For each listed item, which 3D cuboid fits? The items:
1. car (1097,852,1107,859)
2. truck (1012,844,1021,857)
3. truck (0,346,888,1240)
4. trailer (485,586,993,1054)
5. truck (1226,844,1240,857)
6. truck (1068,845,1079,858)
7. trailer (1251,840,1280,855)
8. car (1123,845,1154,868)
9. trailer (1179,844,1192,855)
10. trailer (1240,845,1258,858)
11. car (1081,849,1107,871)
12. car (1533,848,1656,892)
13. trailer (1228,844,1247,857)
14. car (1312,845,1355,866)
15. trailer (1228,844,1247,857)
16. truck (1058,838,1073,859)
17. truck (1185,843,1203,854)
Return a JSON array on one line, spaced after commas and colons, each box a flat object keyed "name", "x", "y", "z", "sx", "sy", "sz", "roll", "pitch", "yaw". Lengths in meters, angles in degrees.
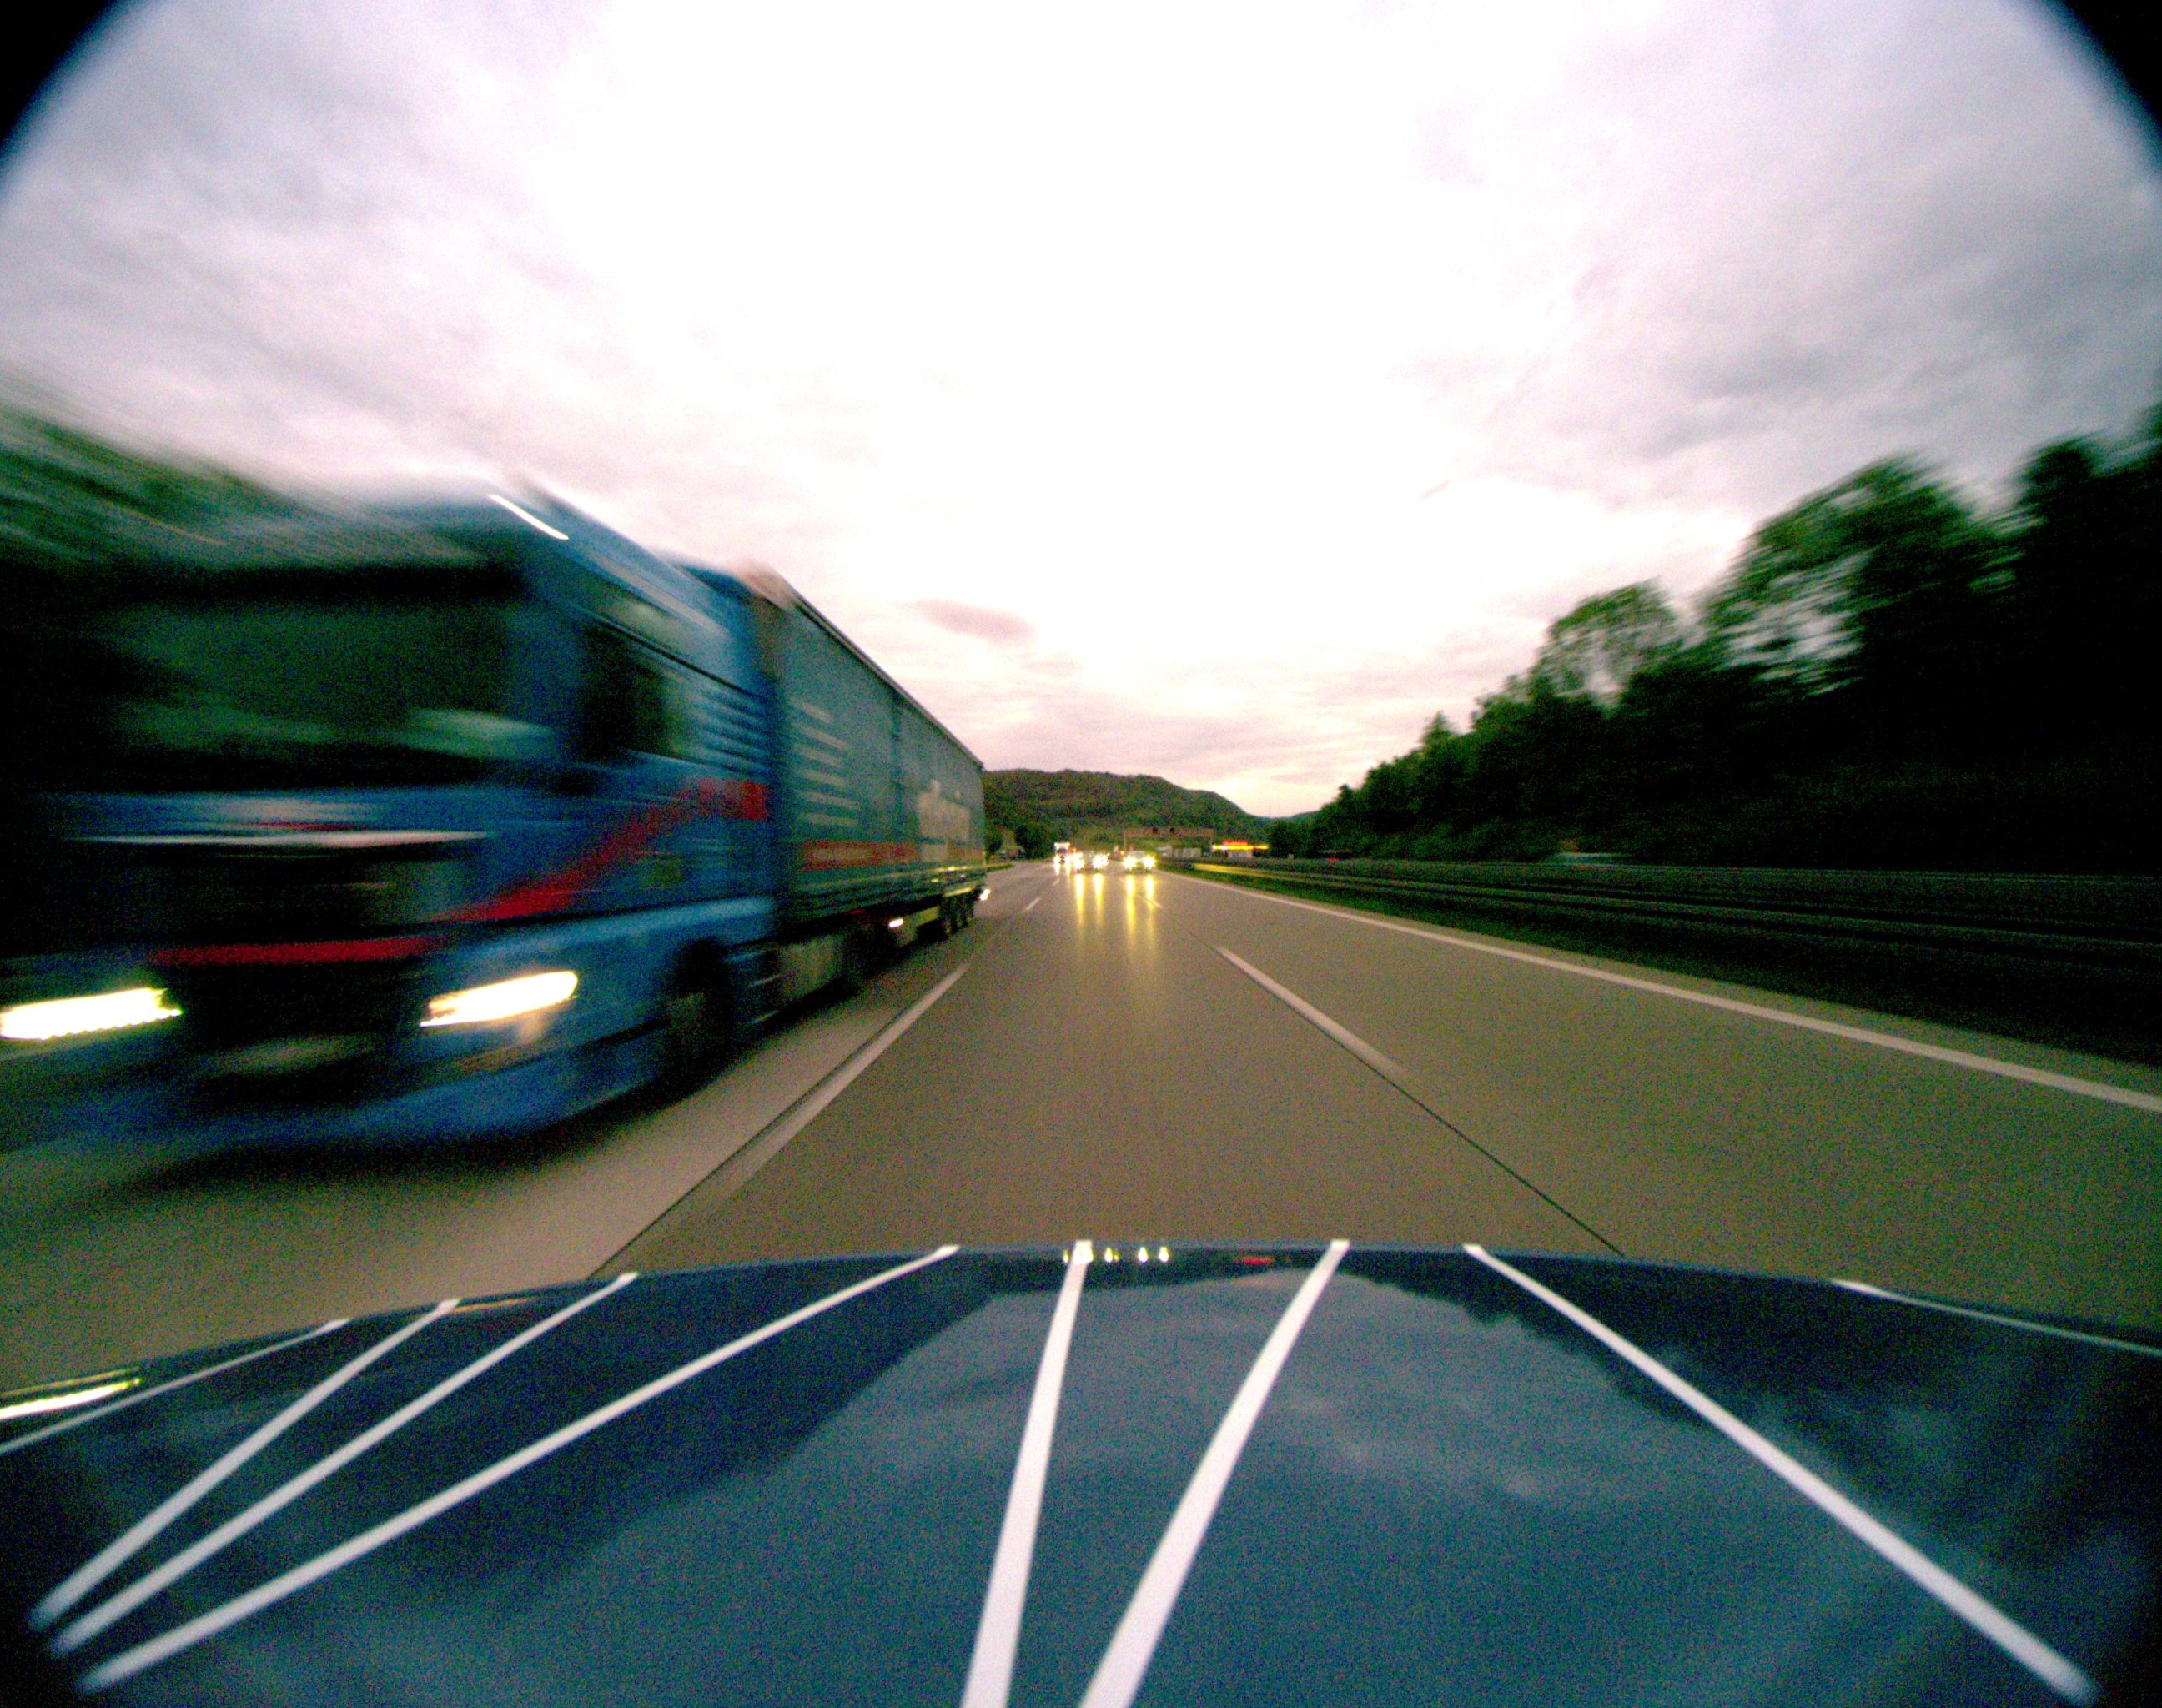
[{"name": "car", "x": 4.624, "y": 0.258, "z": 165.782, "sx": 1.898, "sy": 1.503, "sz": 3.999, "roll": -1, "pitch": 0, "yaw": -1}, {"name": "truck", "x": -20.836, "y": -1.188, "z": 245.669, "sx": 2.847, "sy": 3.893, "sz": 11.981, "roll": 0, "pitch": 0, "yaw": -6}, {"name": "truck", "x": -3.829, "y": -0.273, "z": 6.372, "sx": 2.743, "sy": 3.973, "sz": 5.848, "roll": -2, "pitch": 1, "yaw": 1}, {"name": "trailer", "x": -3.814, "y": -0.350, "z": 13.605, "sx": 2.779, "sy": 4.063, "sz": 13.737, "roll": -2, "pitch": 1, "yaw": 0}, {"name": "truck", "x": 51.045, "y": -1.174, "z": 255.610, "sx": 3.025, "sy": 4.235, "sz": 8.864, "roll": -1, "pitch": 0, "yaw": 1}, {"name": "truck", "x": -2.325, "y": -0.769, "z": 244.506, "sx": 3.120, "sy": 3.850, "sz": 14.161, "roll": 2, "pitch": 0, "yaw": 0}, {"name": "trailer", "x": 46.763, "y": -1.759, "z": 192.322, "sx": 3.063, "sy": 3.657, "sz": 13.368, "roll": -1, "pitch": 0, "yaw": 31}, {"name": "car", "x": 4.422, "y": 0.182, "z": 59.103, "sx": 1.894, "sy": 1.650, "sz": 5.638, "roll": -2, "pitch": 1, "yaw": 0}, {"name": "trailer", "x": 36.395, "y": -1.507, "z": 263.979, "sx": 2.880, "sy": 3.405, "sz": 13.851, "roll": -1, "pitch": 0, "yaw": 1}, {"name": "trailer", "x": 50.330, "y": -0.698, "z": 227.899, "sx": 2.880, "sy": 3.657, "sz": 12.717, "roll": -1, "pitch": 0, "yaw": 1}, {"name": "car", "x": 1.056, "y": 0.451, "z": 60.329, "sx": 1.927, "sy": 1.674, "sz": 4.806, "roll": 0, "pitch": 1, "yaw": 2}, {"name": "car", "x": 21.030, "y": 0.587, "z": 31.405, "sx": 1.853, "sy": 1.629, "sz": 4.775, "roll": -1, "pitch": 1, "yaw": 0}, {"name": "trailer", "x": 50.860, "y": -1.133, "z": 247.539, "sx": 3.025, "sy": 4.235, "sz": 15.946, "roll": -1, "pitch": 0, "yaw": 1}, {"name": "car", "x": 21.431, "y": 0.103, "z": 64.717, "sx": 1.853, "sy": 1.724, "sz": 5.660, "roll": -1, "pitch": 1, "yaw": 0}, {"name": "trailer", "x": 50.913, "y": -1.176, "z": 247.537, "sx": 3.025, "sy": 4.235, "sz": 15.946, "roll": -1, "pitch": 0, "yaw": 1}, {"name": "truck", "x": -3.037, "y": -1.054, "z": 148.121, "sx": 2.623, "sy": 3.805, "sz": 10.383, "roll": -1, "pitch": 1, "yaw": -1}, {"name": "truck", "x": 35.638, "y": -1.643, "z": 239.682, "sx": 2.881, "sy": 3.405, "sz": 13.785, "roll": -1, "pitch": 0, "yaw": -4}]
